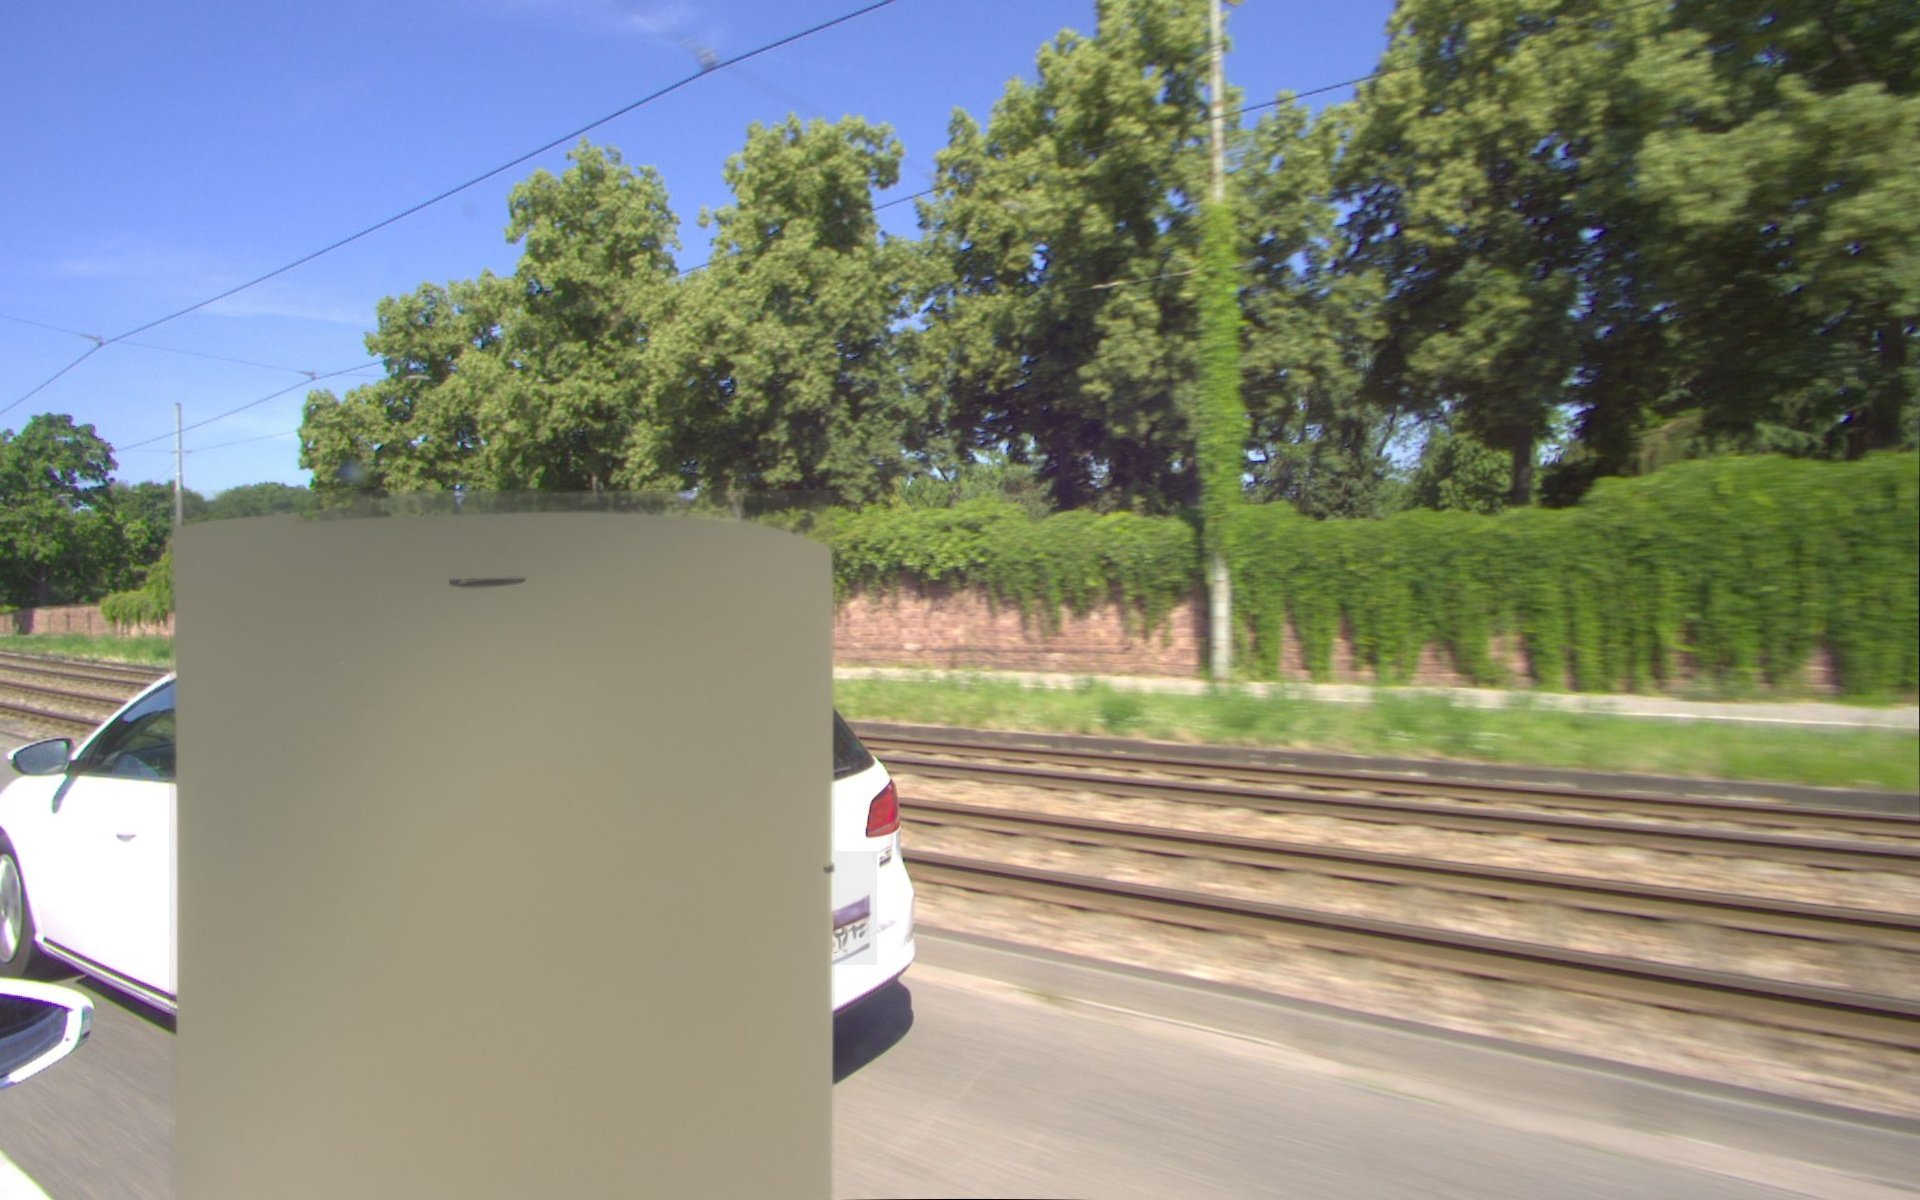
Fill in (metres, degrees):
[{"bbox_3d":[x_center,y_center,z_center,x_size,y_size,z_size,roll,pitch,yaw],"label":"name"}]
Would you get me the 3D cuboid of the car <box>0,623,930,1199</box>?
[{"bbox_3d":[-2.401,0.842,4.107,4.395,1.470,1.688,-1,0,33],"label":"car"}]
